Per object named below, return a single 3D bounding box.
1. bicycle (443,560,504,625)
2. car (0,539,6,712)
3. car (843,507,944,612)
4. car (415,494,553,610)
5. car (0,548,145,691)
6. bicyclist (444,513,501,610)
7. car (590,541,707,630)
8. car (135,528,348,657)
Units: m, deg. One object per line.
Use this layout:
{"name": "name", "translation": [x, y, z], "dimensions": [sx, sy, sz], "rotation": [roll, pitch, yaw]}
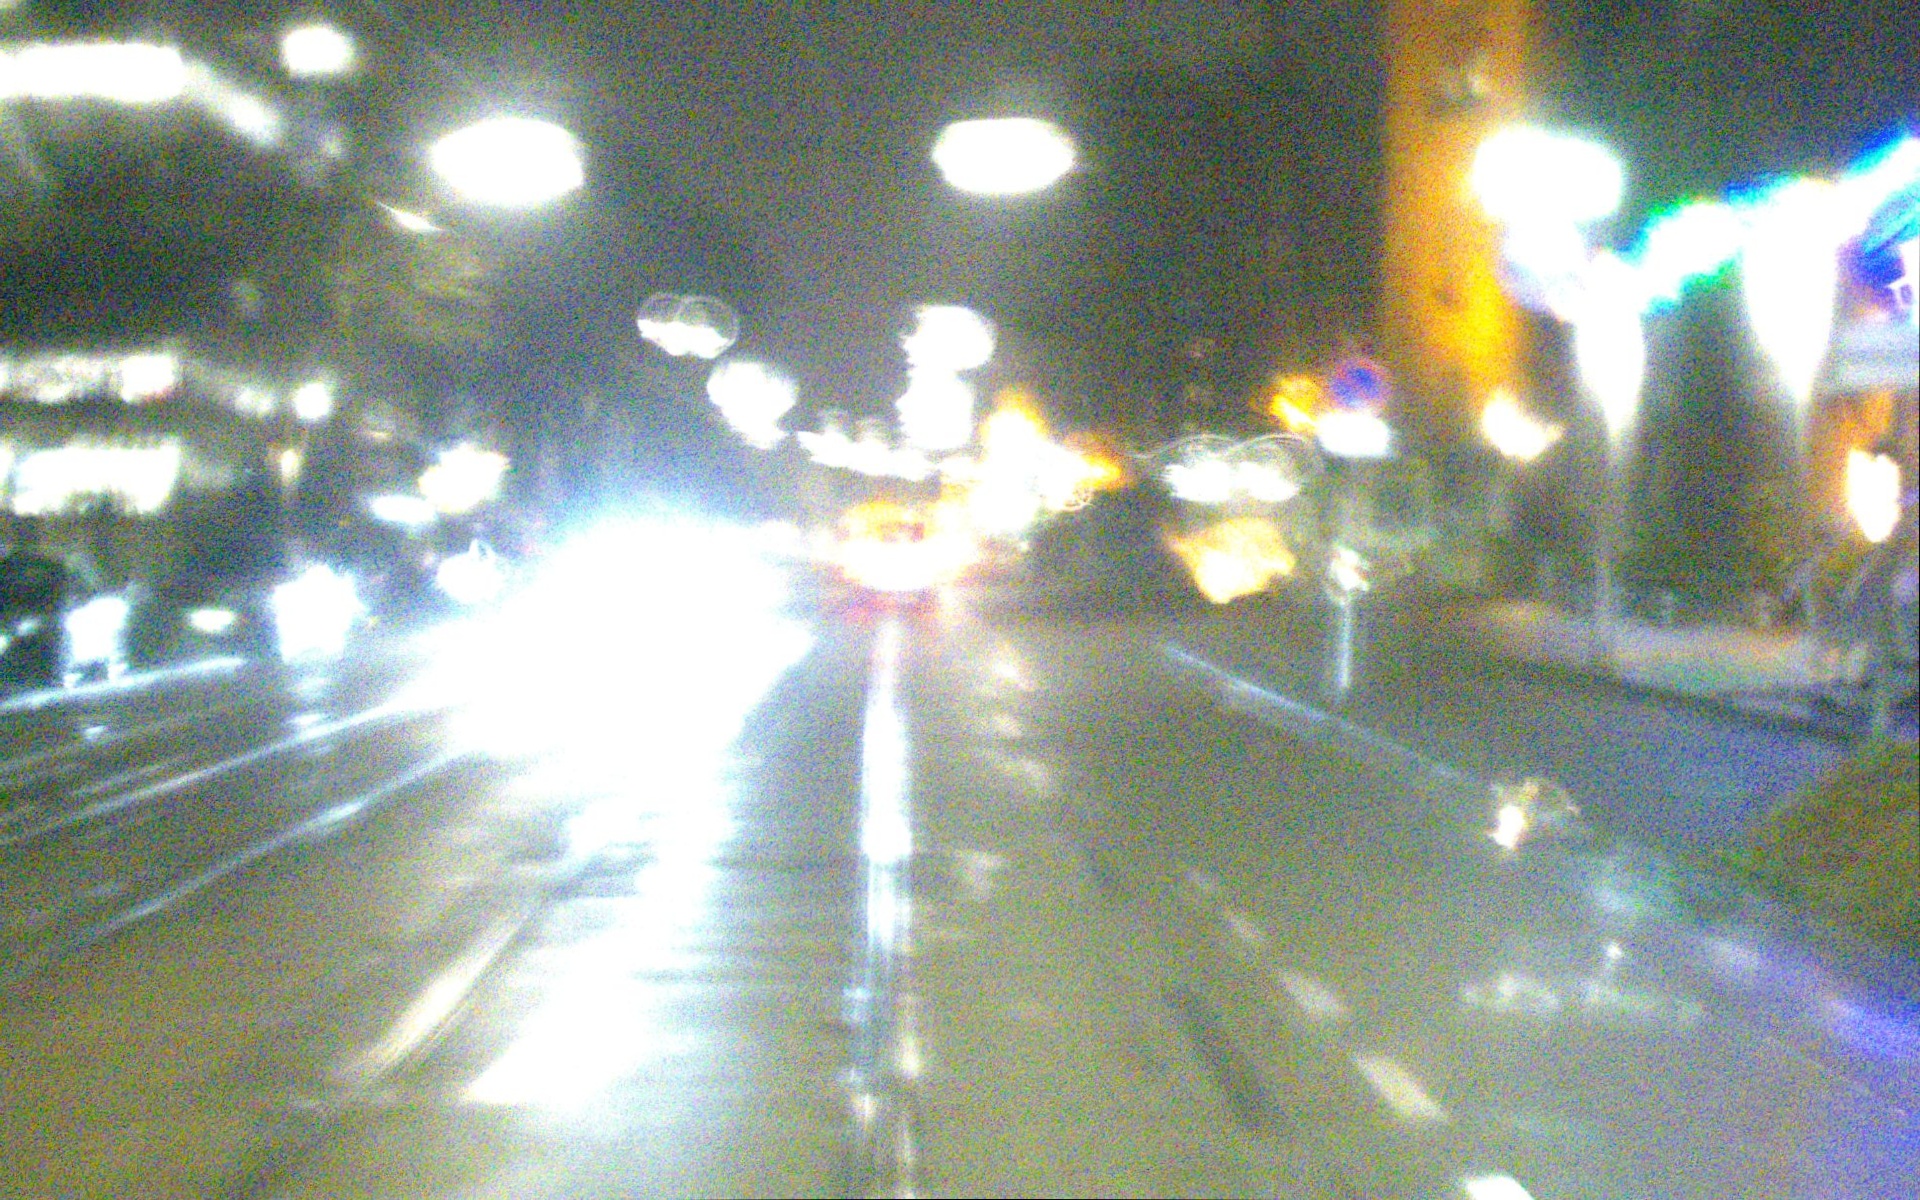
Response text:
{"name": "bicycle", "translation": [-8.541, -0.140, 60.419], "dimensions": [0.782, 1.078, 1.918], "rotation": [-2, 1, -1]}
{"name": "car", "translation": [-9.980, 0.266, 30.293], "dimensions": [1.983, 1.625, 4.517], "rotation": [0, 1, -1]}
{"name": "car", "translation": [-1.562, -0.931, 79.358], "dimensions": [2.244, 2.353, 4.394], "rotation": [0, 1, -2]}
{"name": "car", "translation": [-10.987, -1.155, 79.821], "dimensions": [2.185, 2.582, 6.392], "rotation": [0, 2, 1]}
{"name": "car", "translation": [-10.007, 0.175, 37.200], "dimensions": [1.690, 1.417, 3.915], "rotation": [-1, 2, -4]}
{"name": "bicyclist", "translation": [-8.562, -0.675, 60.416], "dimensions": [0.782, 1.650, 1.206], "rotation": [-2, 1, -1]}
{"name": "car", "translation": [-5.545, -0.281, 61.576], "dimensions": [1.776, 1.512, 4.051], "rotation": [0, 1, -1]}
{"name": "car", "translation": [-10.055, -0.132, 48.441], "dimensions": [1.969, 1.650, 4.601], "rotation": [2, 1, 0]}
